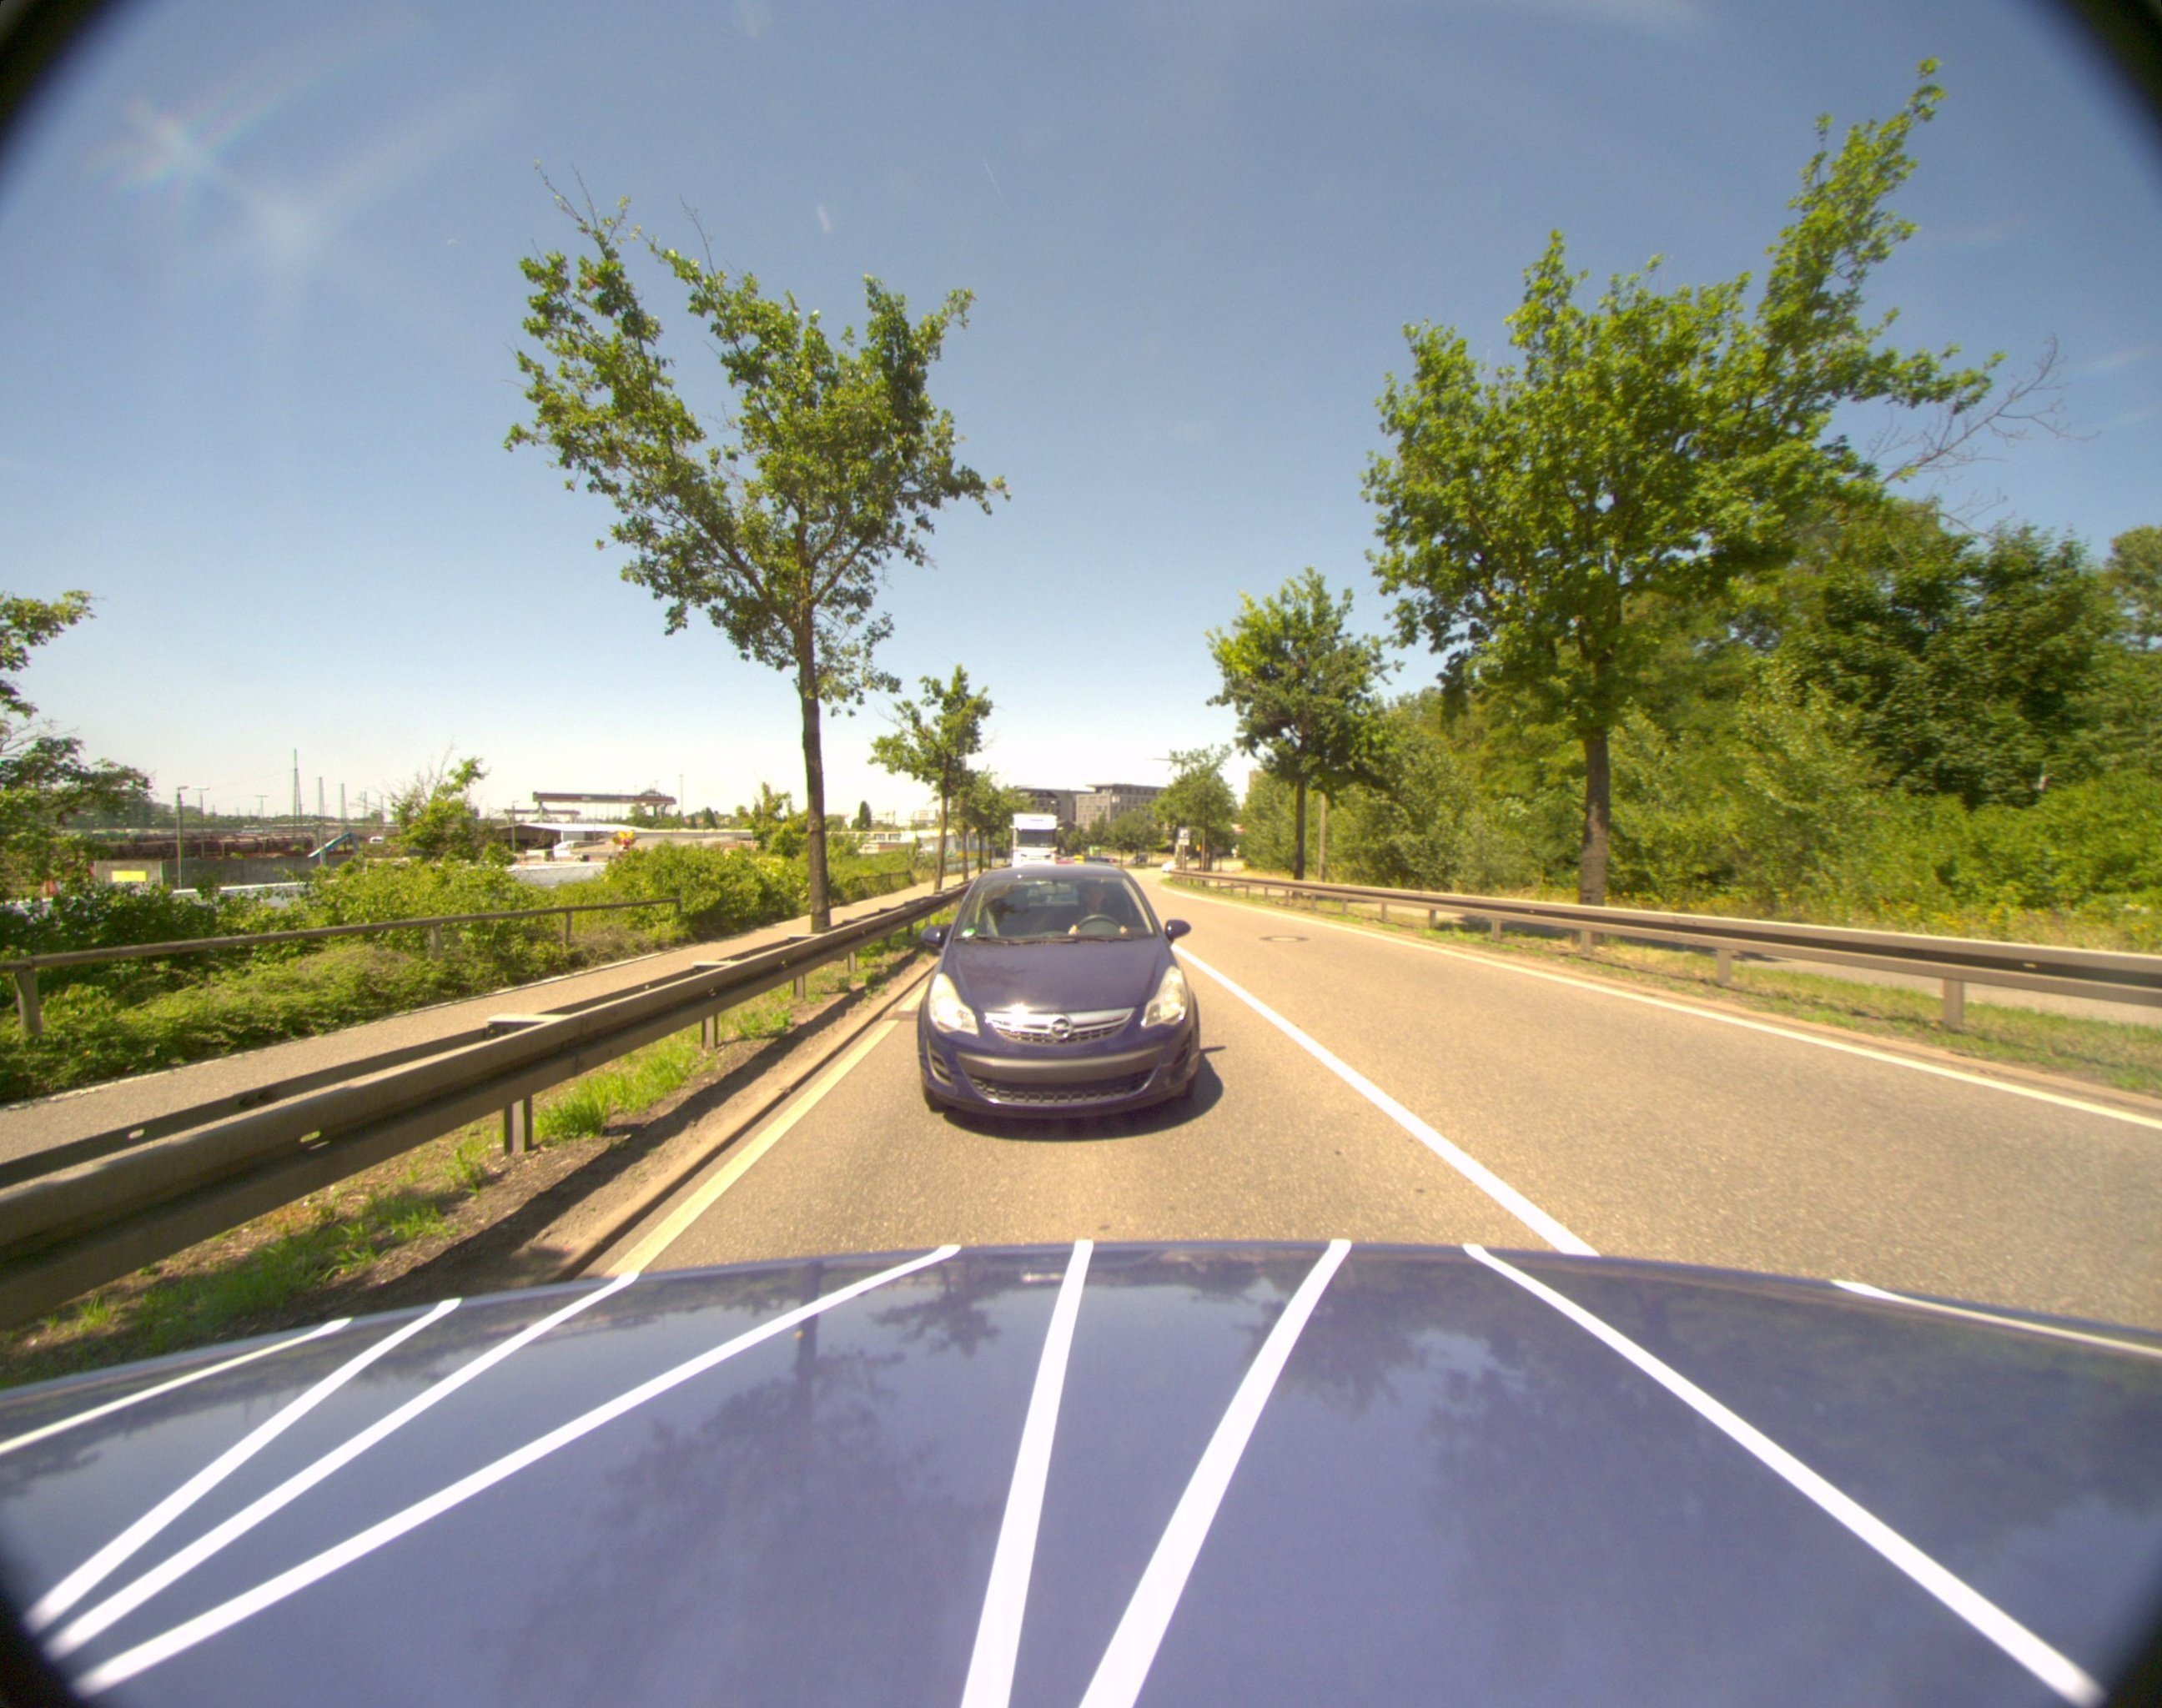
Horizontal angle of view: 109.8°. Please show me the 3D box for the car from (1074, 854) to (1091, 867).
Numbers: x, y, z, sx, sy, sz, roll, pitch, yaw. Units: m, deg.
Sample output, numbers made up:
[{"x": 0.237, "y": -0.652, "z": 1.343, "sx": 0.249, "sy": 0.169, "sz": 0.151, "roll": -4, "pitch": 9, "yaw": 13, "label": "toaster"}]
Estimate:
[{"x": 0.203, "y": 0.804, "z": 98.895, "sx": 1.742, "sy": 1.608, "sz": 4.001, "roll": -2, "pitch": 1, "yaw": 6, "label": "car"}]

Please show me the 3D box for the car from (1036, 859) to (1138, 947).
[{"x": 0.003, "y": 0.917, "z": 15.917, "sx": 1.781, "sy": 1.498, "sz": 3.894, "roll": -2, "pitch": 1, "yaw": -4, "label": "car"}]

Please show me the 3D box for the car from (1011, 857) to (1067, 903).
[{"x": -1.498, "y": 0.874, "z": 26.902, "sx": 1.781, "sy": 1.398, "sz": 3.998, "roll": -2, "pitch": 1, "yaw": -4, "label": "car"}]

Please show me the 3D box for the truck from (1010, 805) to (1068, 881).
[{"x": -3.106, "y": -0.687, "z": 50.949, "sx": 3.072, "sy": 4.146, "sz": 16.901, "roll": -2, "pitch": 1, "yaw": -5, "label": "truck"}]

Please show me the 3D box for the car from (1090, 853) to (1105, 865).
[{"x": 2.580, "y": 0.769, "z": 120.203, "sx": 1.779, "sy": 1.657, "sz": 4.002, "roll": -2, "pitch": 1, "yaw": 8, "label": "car"}]

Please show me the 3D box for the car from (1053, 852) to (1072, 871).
[{"x": -1.941, "y": 0.779, "z": 82.681, "sx": 1.780, "sy": 2.002, "sz": 4.000, "roll": -2, "pitch": 1, "yaw": 2, "label": "car"}]

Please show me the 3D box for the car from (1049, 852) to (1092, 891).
[{"x": -0.510, "y": 0.746, "z": 34.771, "sx": 1.780, "sy": 1.569, "sz": 3.999, "roll": -2, "pitch": 1, "yaw": -2, "label": "car"}]

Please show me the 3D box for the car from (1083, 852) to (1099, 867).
[{"x": 1.501, "y": 0.781, "z": 111.940, "sx": 1.779, "sy": 2.002, "sz": 4.002, "roll": -2, "pitch": 1, "yaw": 8, "label": "car"}]

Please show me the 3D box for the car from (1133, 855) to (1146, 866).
[{"x": 11.330, "y": 1.263, "z": 147.419, "sx": 1.778, "sy": 2.002, "sz": 4.004, "roll": -2, "pitch": 1, "yaw": 14, "label": "car"}]

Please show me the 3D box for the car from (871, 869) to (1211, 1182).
[{"x": -0.294, "y": 0.927, "z": 5.886, "sx": 1.720, "sy": 1.455, "sz": 3.836, "roll": -2, "pitch": 1, "yaw": -3, "label": "car"}]

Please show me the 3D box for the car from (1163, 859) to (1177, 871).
[{"x": 12.101, "y": 1.477, "z": 102.712, "sx": 1.779, "sy": 1.435, "sz": 4.002, "roll": -2, "pitch": 1, "yaw": 8, "label": "car"}]
